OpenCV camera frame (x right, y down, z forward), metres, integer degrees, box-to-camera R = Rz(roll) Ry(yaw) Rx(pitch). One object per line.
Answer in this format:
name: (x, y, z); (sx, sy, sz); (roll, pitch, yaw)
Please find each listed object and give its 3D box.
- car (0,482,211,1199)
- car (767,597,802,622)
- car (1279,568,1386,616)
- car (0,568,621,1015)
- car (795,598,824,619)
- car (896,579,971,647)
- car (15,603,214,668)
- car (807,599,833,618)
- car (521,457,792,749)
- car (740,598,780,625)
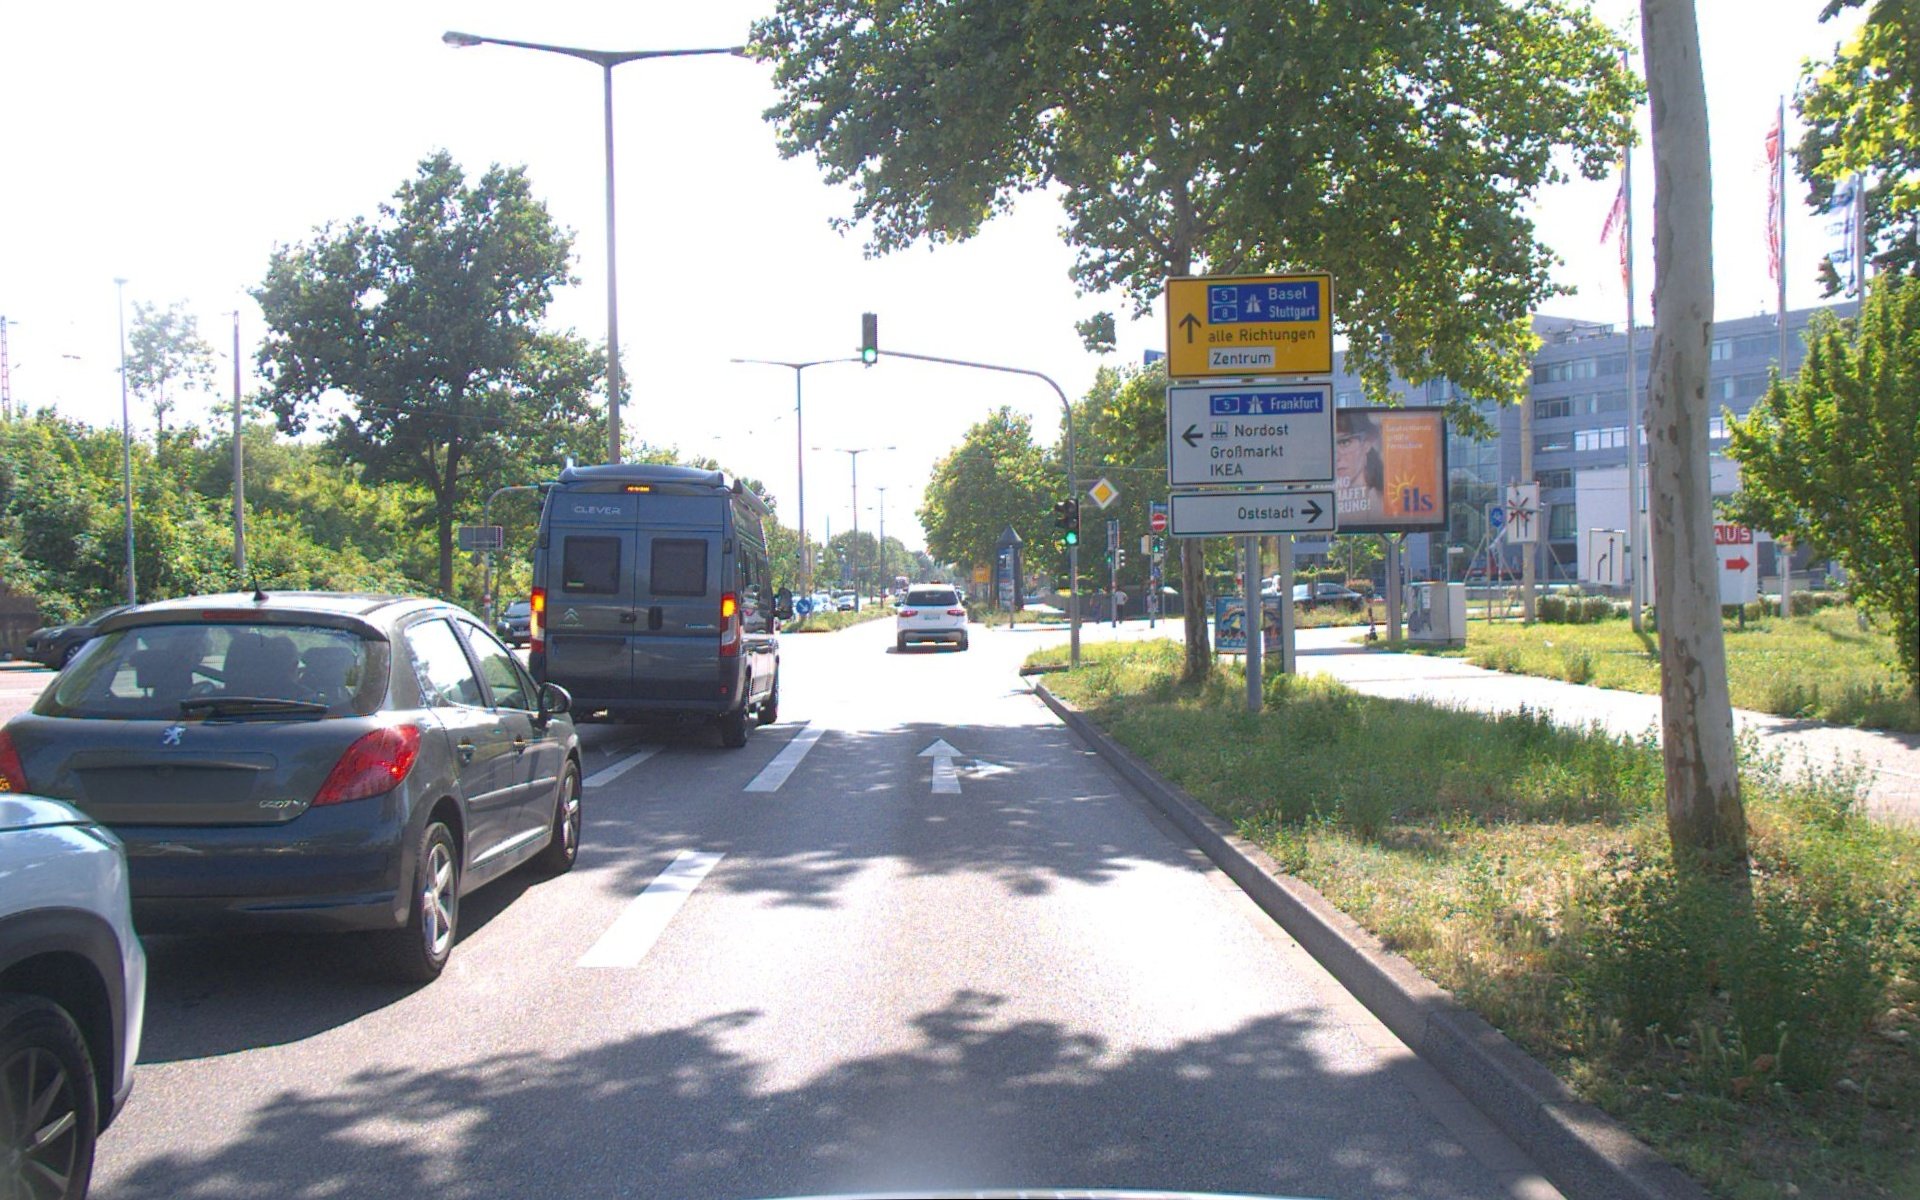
car: (-2.710, 0.610, 2.034); (1.735, 1.676, 4.084); (0, 0, 0)
car: (-8.378, 0.445, 79.122); (1.341, 1.132, 3.206); (-2, 0, -1)
car: (14.434, -0.302, 64.184); (3.721, 1.788, 1.599); (1, 0, -11)
car: (-2.781, 0.650, 7.658); (1.657, 1.531, 3.885); (1, 0, -1)
car: (-8.460, 0.474, 93.294); (1.341, 1.132, 3.206); (-2, 0, -1)
car: (-0.733, 0.285, 42.725); (1.816, 1.635, 3.998); (0, 1, -3)
car: (-20.760, 0.841, 40.671); (3.997, 1.443, 1.969); (-2, 0, -42)
car: (-8.485, 0.504, 100.243); (1.341, 1.132, 3.206); (-2, 0, -1)
car: (-3.077, 0.026, 17.869); (2.039, 2.703, 4.873); (0, 0, 0)
car: (-8.665, 0.480, 71.887); (1.341, 1.132, 3.206); (-2, 0, -1)
